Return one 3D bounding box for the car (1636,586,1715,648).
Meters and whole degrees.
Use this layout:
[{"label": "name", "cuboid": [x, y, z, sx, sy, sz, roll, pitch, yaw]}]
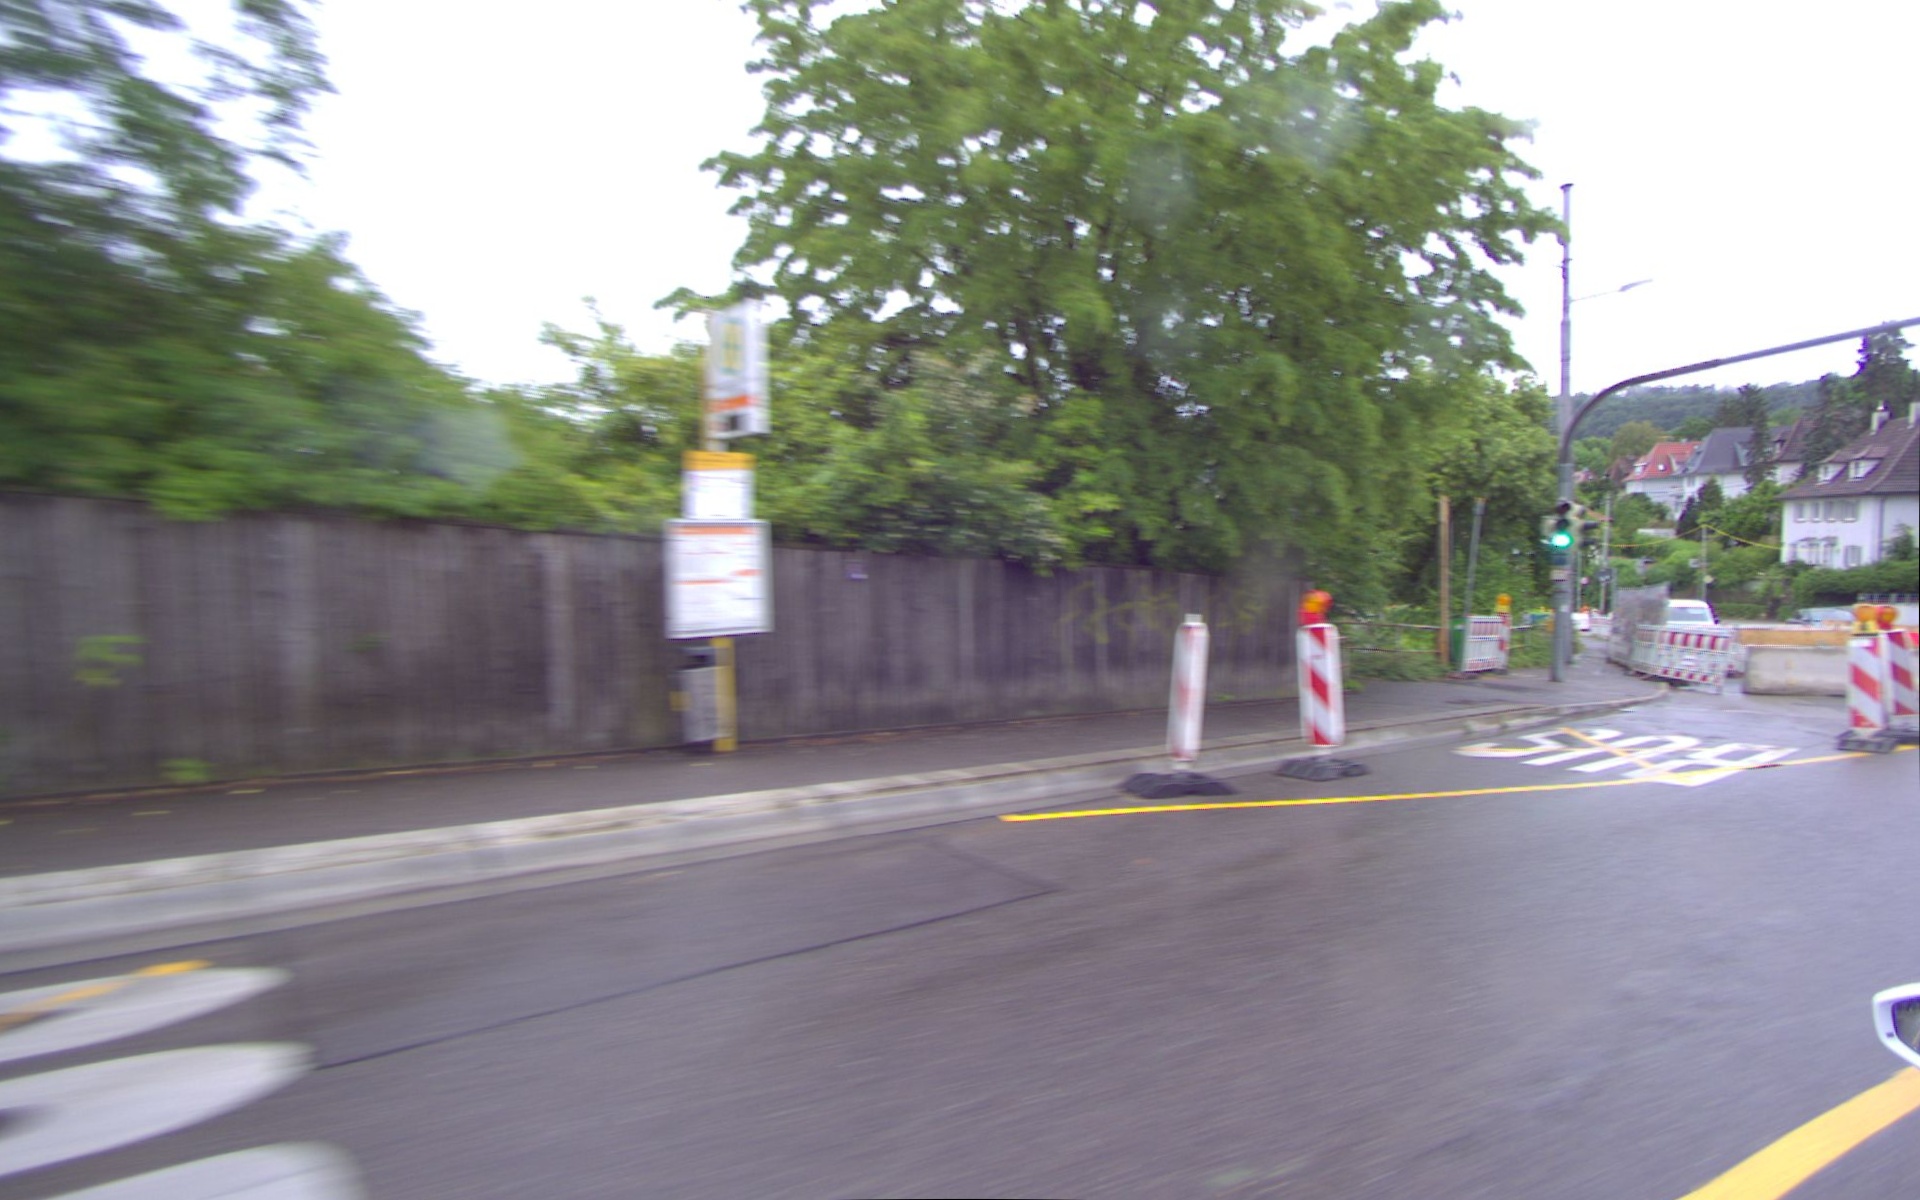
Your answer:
[{"label": "car", "cuboid": [25.128, 0.635, 35.428, 1.965, 2.040, 4.796, -1, -2, 32]}]
